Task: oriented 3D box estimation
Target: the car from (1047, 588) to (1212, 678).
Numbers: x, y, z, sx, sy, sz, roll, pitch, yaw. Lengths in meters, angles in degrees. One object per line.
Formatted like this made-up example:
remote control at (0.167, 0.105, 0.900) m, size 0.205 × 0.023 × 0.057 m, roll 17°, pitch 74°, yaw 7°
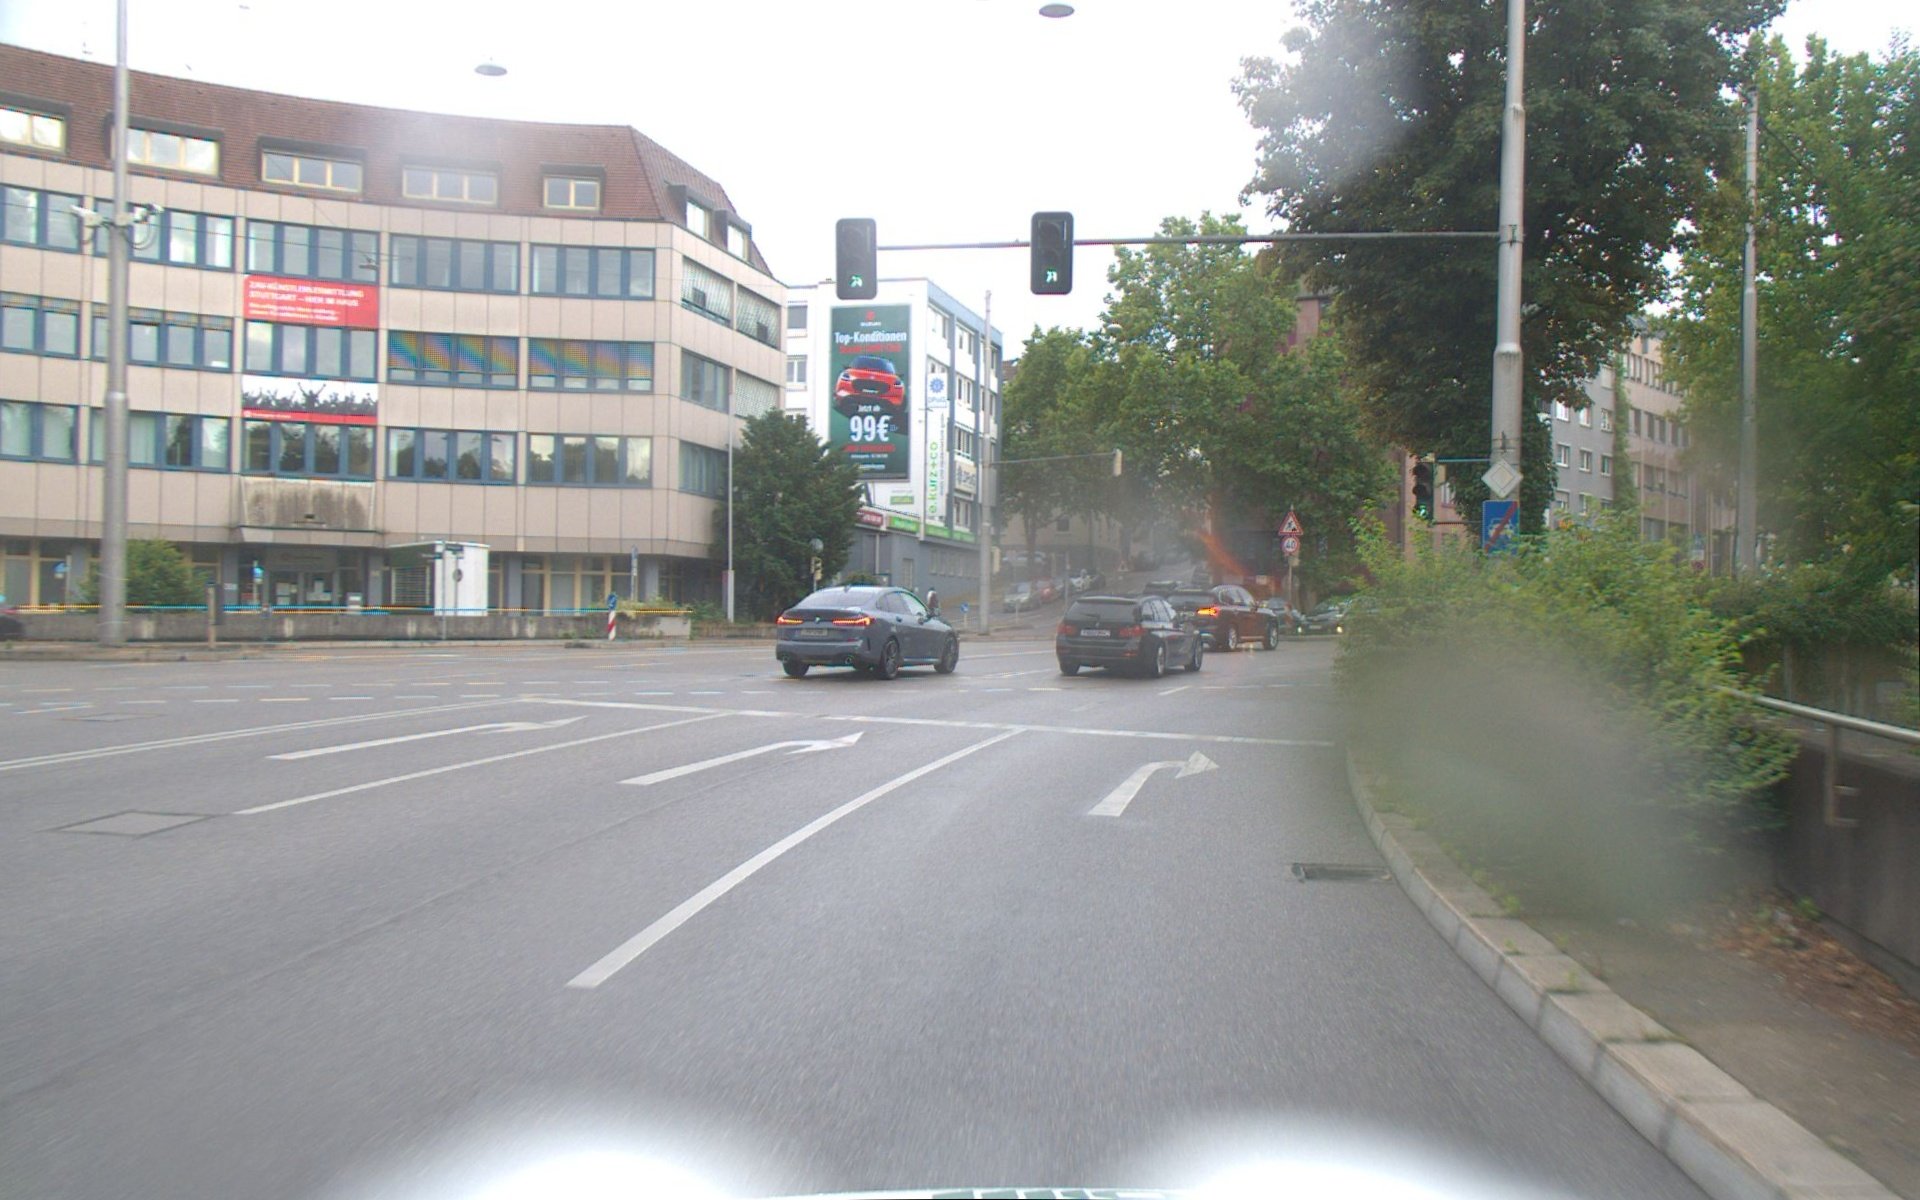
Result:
car at (3.144, 0.535, 29.809) m, size 1.755 × 1.450 × 4.613 m, roll 1°, pitch 1°, yaw 21°

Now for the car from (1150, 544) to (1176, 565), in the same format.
car at (18.726, -4.215, 152.583) m, size 1.951 × 1.874 × 4.005 m, roll 0°, pitch 3°, yaw 13°

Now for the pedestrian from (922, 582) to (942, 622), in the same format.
pedestrian at (-1.442, 0.126, 85.438) m, size 0.821 × 2.049 × 0.982 m, roll 0°, pitch -1°, yaw 15°

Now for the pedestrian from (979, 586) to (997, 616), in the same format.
pedestrian at (1.637, 0.076, 96.955) m, size 0.821 × 1.748 × 0.982 m, roll 0°, pitch -1°, yaw 15°

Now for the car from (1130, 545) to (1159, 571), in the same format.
car at (15.544, -3.525, 139.074) m, size 1.951 × 2.049 × 4.003 m, roll 0°, pitch -1°, yaw 13°

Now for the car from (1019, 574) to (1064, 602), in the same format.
car at (5.006, -0.753, 100.936) m, size 1.794 × 1.455 × 4.074 m, roll -1°, pitch 4°, yaw 17°

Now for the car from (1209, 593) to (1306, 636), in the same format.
car at (11.029, 0.553, 61.179) m, size 1.788 × 1.539 × 4.213 m, roll -1°, pitch -1°, yaw 38°

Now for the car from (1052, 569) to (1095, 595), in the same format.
car at (7.555, -1.181, 109.779) m, size 1.795 × 1.455 × 4.073 m, roll 0°, pitch 4°, yaw 20°

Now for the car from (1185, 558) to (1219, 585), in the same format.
car at (16.808, -1.993, 114.773) m, size 1.890 × 1.703 × 4.004 m, roll 0°, pitch 3°, yaw 15°

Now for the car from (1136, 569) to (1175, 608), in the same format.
car at (10.892, -0.660, 91.811) m, size 1.889 × 1.900 × 4.005 m, roll 2°, pitch 4°, yaw 10°

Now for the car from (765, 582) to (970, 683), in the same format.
car at (-1.389, 0.482, 26.839) m, size 1.753 × 1.451 × 4.385 m, roll 1°, pitch 0°, yaw 19°

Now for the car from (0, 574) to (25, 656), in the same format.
car at (-23.764, 0.334, 37.398) m, size 4.389 × 1.875 × 1.975 m, roll 1°, pitch -1°, yaw -36°

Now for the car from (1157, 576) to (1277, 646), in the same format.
car at (6.642, 0.303, 42.496) m, size 1.863 × 1.723 × 3.994 m, roll -1°, pitch -1°, yaw 28°

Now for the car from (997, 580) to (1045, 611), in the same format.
car at (3.536, -0.297, 95.410) m, size 1.794 × 1.488 × 4.182 m, roll -1°, pitch 4°, yaw 16°

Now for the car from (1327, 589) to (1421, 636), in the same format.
car at (15.569, 0.477, 62.020) m, size 1.822 × 1.651 × 4.575 m, roll -2°, pitch -1°, yaw 36°

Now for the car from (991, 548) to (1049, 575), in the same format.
car at (4.751, -3.061, 130.611) m, size 4.322 × 2.041 × 2.002 m, roll 0°, pitch -1°, yaw 11°
